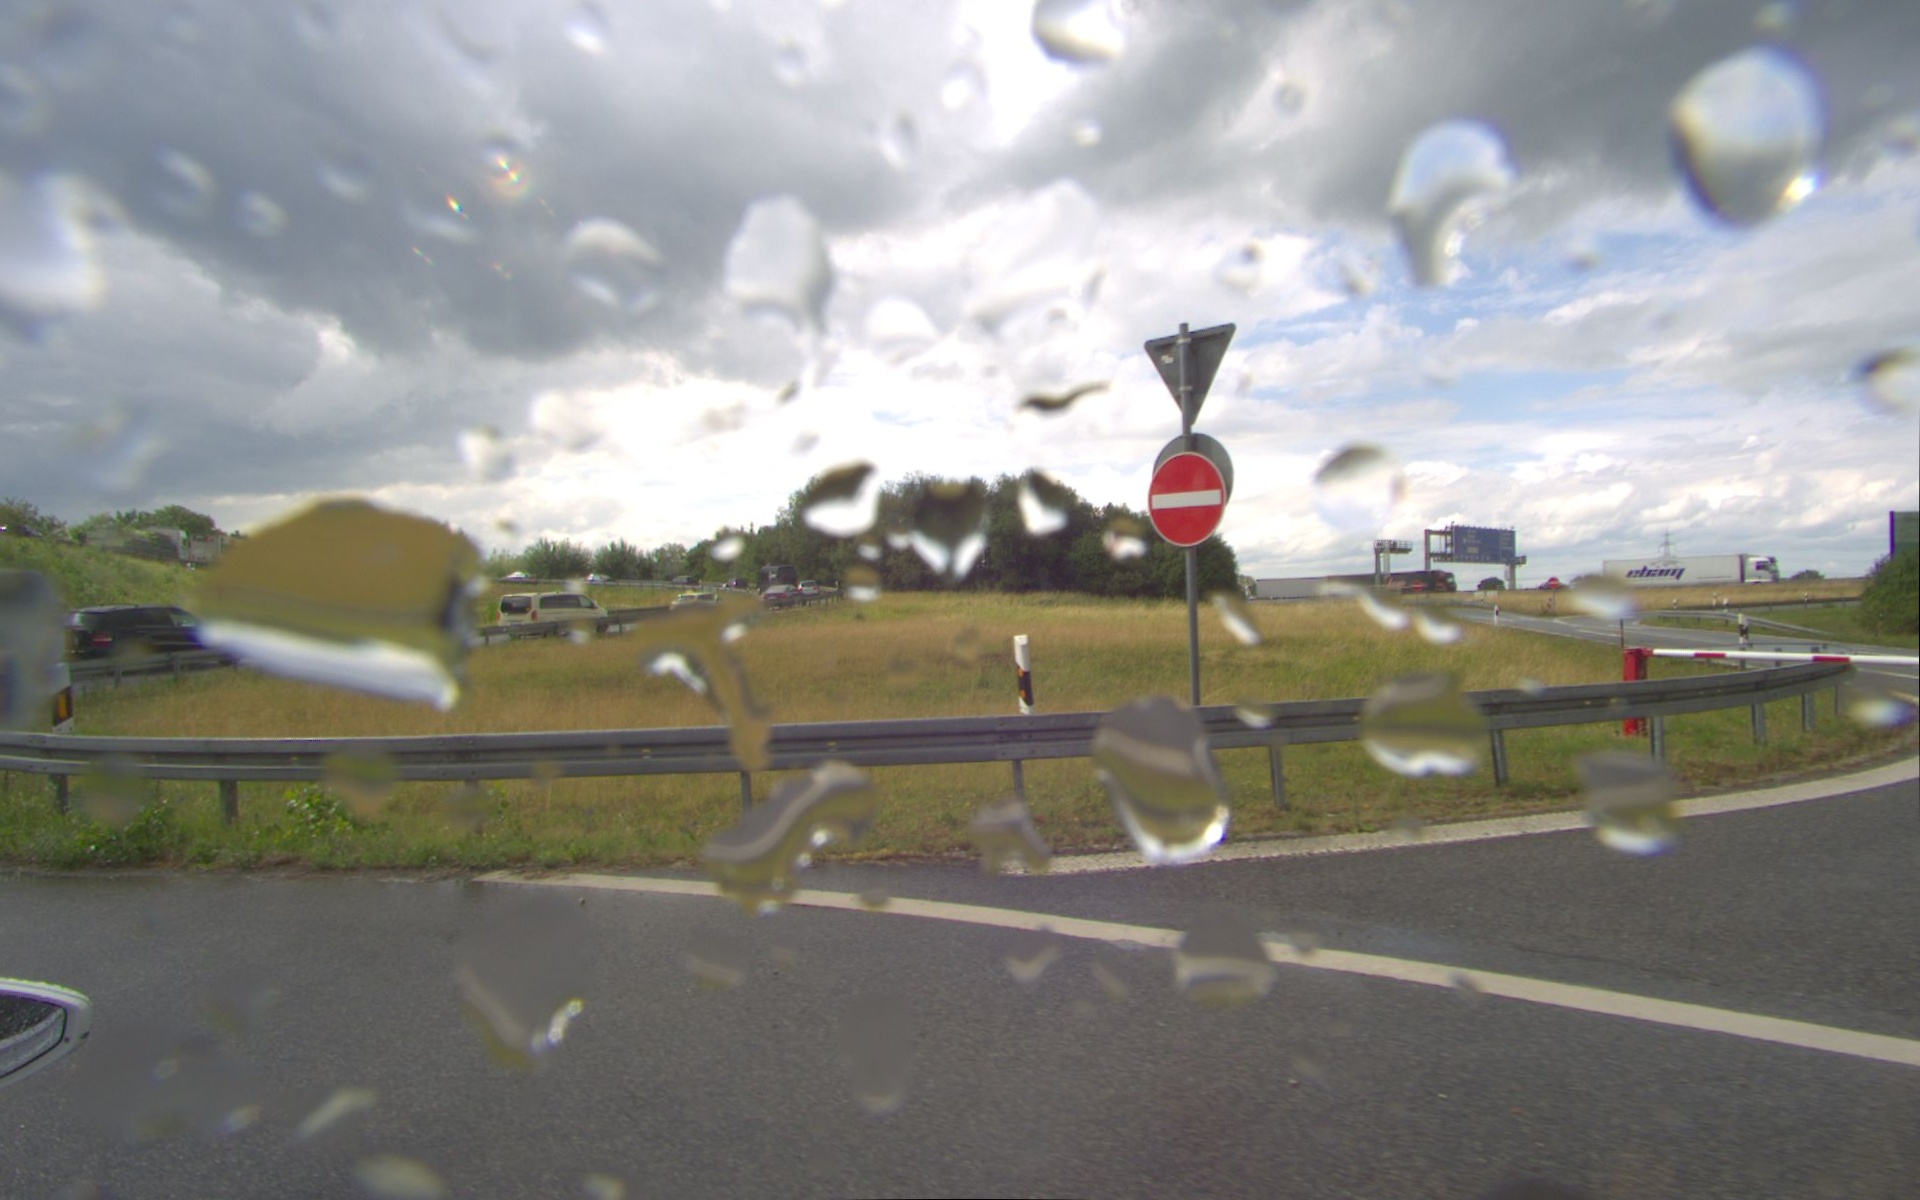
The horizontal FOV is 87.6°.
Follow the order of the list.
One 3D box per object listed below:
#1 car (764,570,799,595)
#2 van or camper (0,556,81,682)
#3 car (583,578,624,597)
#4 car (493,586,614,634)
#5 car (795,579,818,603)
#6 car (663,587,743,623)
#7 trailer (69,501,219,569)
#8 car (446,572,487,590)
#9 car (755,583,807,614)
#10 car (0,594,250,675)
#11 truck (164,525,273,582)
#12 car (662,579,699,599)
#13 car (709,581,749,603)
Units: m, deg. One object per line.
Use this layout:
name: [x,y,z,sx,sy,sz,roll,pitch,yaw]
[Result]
car: [-16.098,-1.541,90.299,1.971,2.039,3.981,1,-2,-29]
van or camper: [-22.194,0.388,21.144,2.391,2.765,5.999,1,0,-6]
car: [-40.097,-1.380,112.616,3.931,2.039,1.996,-1,-2,21]
car: [-16.952,0.384,42.102,1.964,1.886,5.049,-1,0,17]
car: [-12.242,-0.701,79.510,1.634,1.808,5.053,-1,0,-10]
car: [-14.108,0.261,55.266,1.963,1.886,5.050,-1,0,16]
trailer: [-72.227,-5.449,89.584,4.354,4.005,20.169,0,-2,-21]
car: [-59.386,-2.289,120.510,3.925,2.040,1.999,-1,0,11]
car: [-11.575,-0.104,65.133,1.961,1.886,5.056,-1,0,7]
car: [-22.512,0.834,27.211,2.389,1.951,5.759,1,0,-1]
truck: [-79.268,-4.742,107.732,4.400,4.560,19.329,0,-2,-21]
car: [-29.928,-1.207,107.160,3.953,2.041,1.983,1,2,42]
car: [-22.844,-0.796,98.998,3.958,2.040,1.982,-1,0,44]
